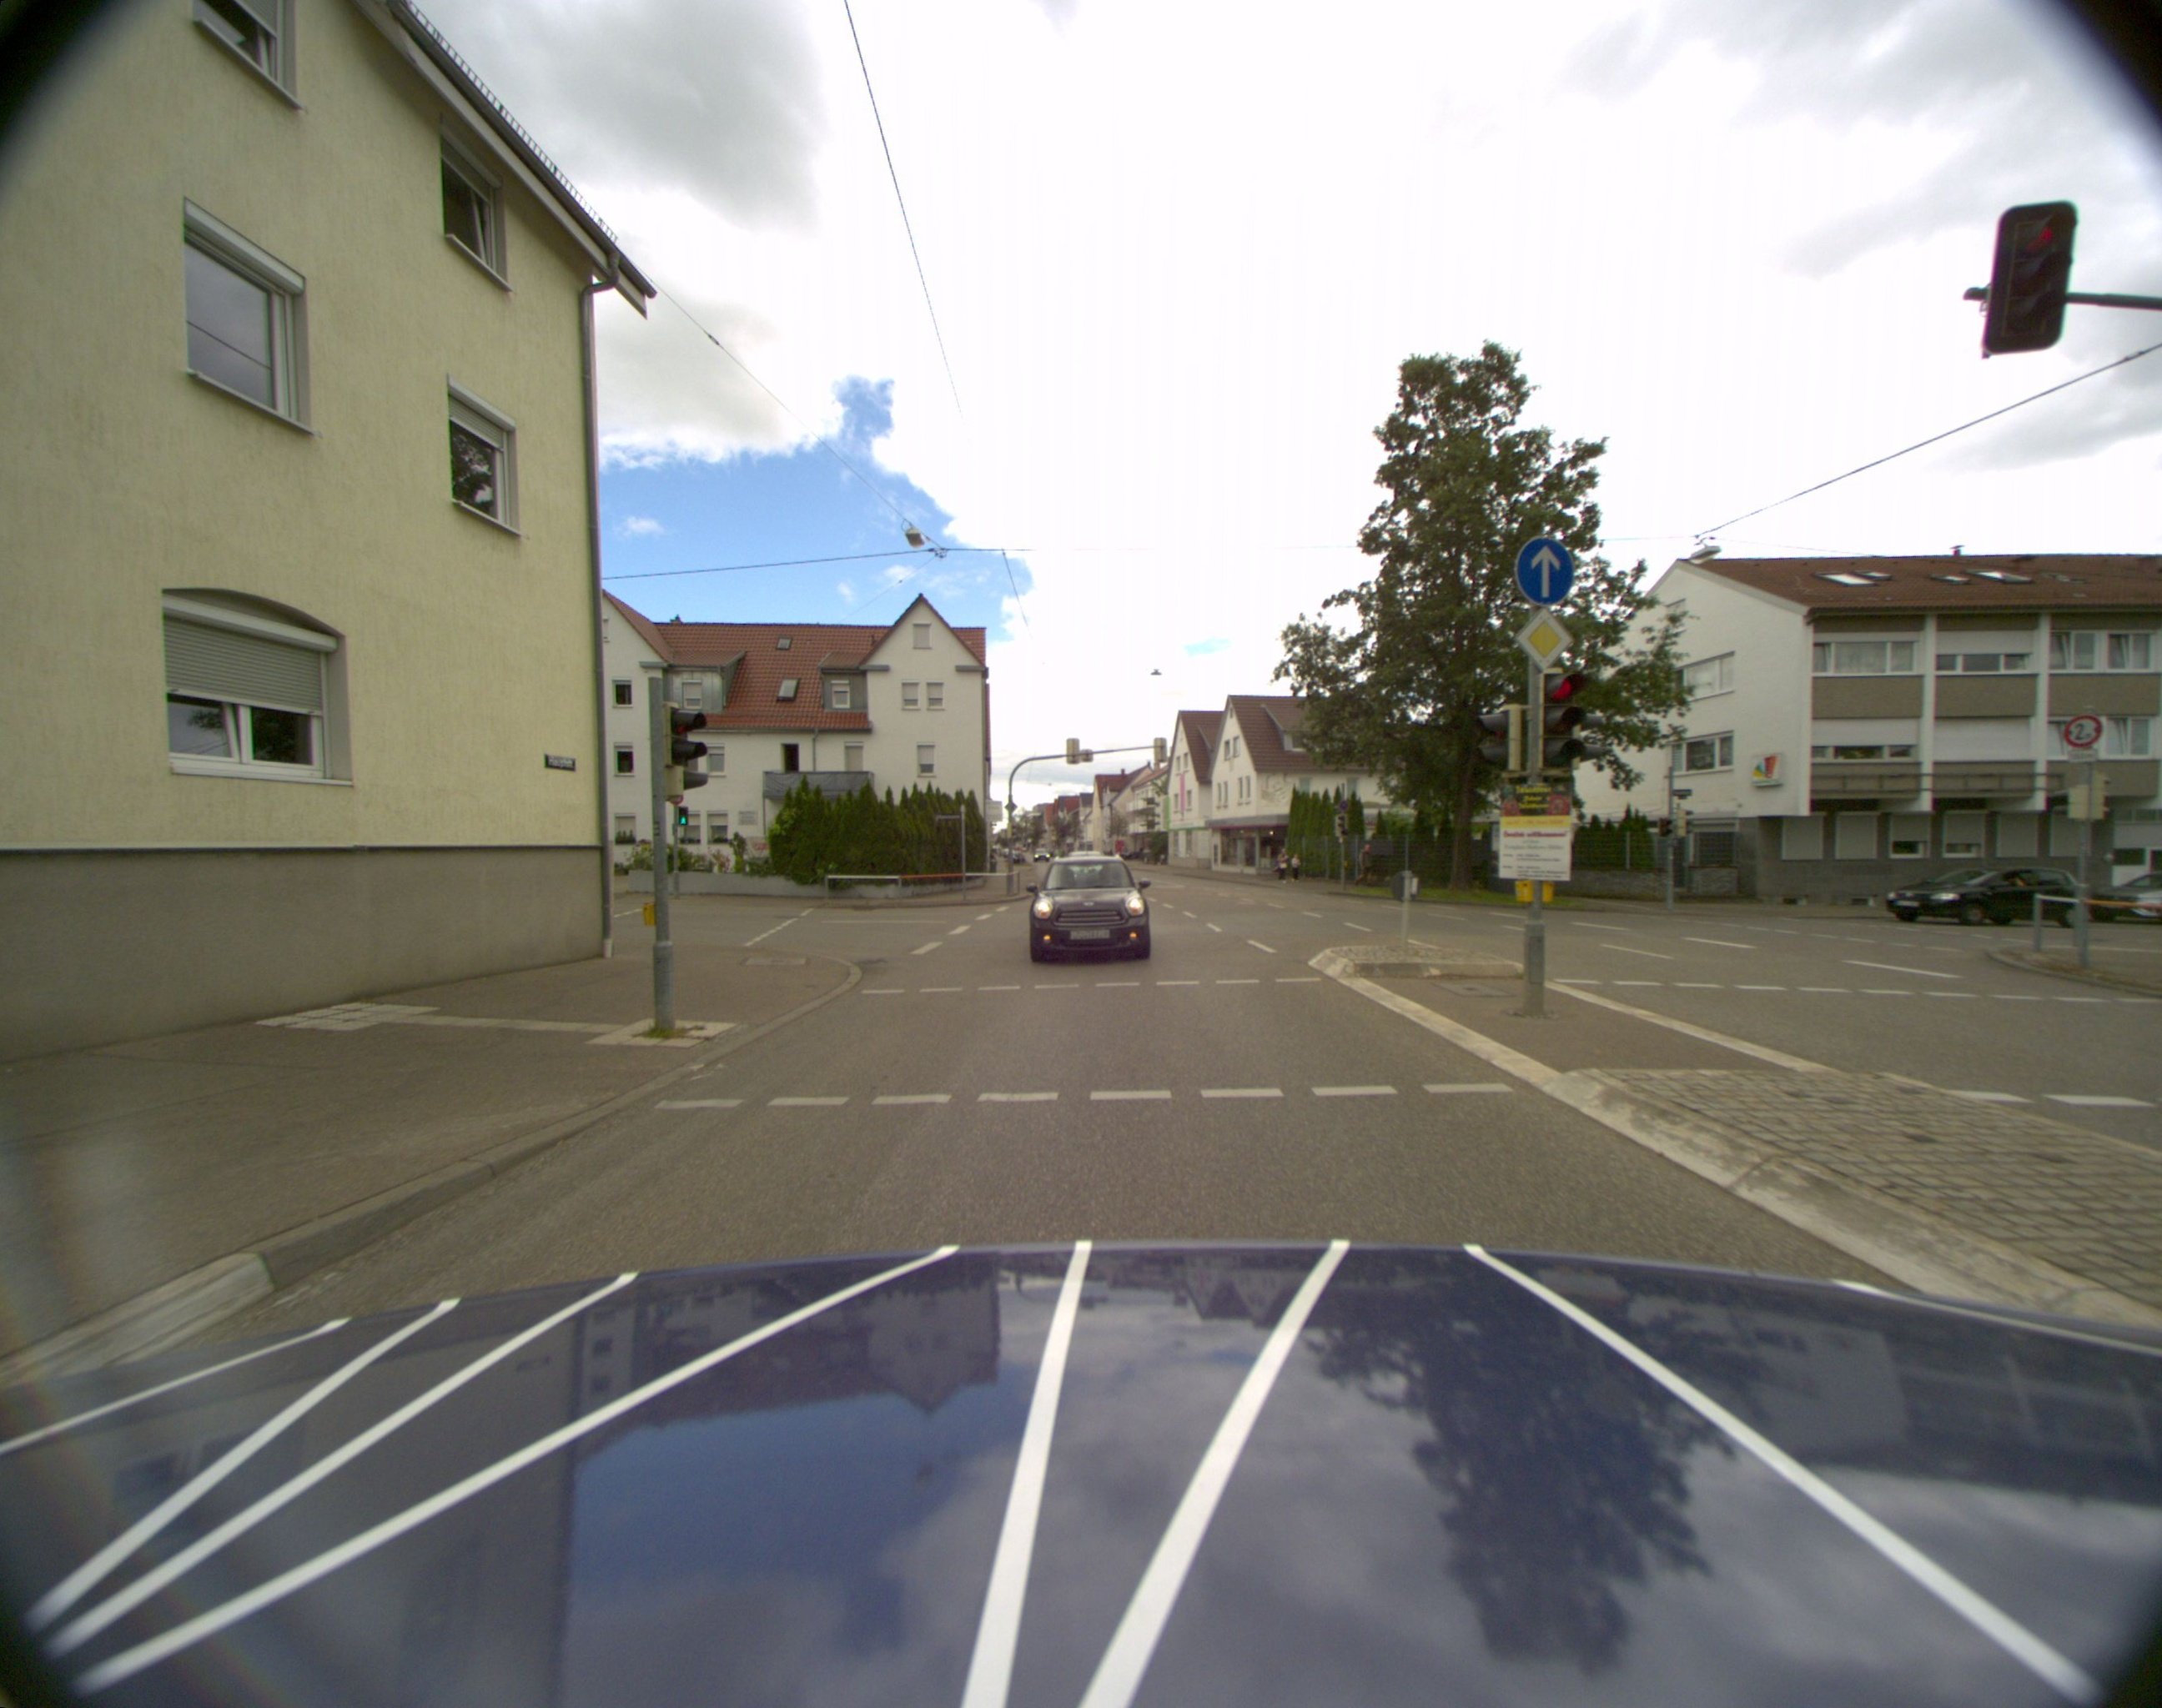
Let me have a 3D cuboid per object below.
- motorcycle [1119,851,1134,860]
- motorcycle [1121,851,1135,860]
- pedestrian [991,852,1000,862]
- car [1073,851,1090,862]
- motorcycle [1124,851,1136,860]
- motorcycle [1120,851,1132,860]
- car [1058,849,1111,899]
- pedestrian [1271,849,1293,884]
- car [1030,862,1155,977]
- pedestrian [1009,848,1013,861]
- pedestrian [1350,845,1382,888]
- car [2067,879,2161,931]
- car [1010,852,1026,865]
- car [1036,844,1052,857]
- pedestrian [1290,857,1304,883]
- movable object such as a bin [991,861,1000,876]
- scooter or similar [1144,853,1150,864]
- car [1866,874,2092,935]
[{"bbox_3d":[5.725,0.171,95.639,1.835,1.099,0.505,-2,1,-6],"label":"motorcycle"},{"bbox_3d":[5.956,0.150,96.444,1.679,1.099,0.558,-2,1,-6],"label":"motorcycle"},{"bbox_3d":[-11.177,0.394,99.198,0.982,1.272,0.667,0,1,7],"label":"pedestrian"},{"bbox_3d":[0.043,0.344,104.528,1.635,1.404,3.996,1,0,-9],"label":"car"},{"bbox_3d":[6.096,0.144,93.986,1.430,1.017,0.525,-2,1,-6],"label":"motorcycle"},{"bbox_3d":[5.602,0.193,94.685,1.515,1.099,0.589,-2,1,0],"label":"motorcycle"},{"bbox_3d":[0.055,0.677,29.017,1.811,1.556,4.615,-2,3,-2],"label":"car"},{"bbox_3d":[9.640,0.586,36.409,0.642,1.596,0.865,-2,2,-16],"label":"pedestrian"},{"bbox_3d":[0.045,0.915,12.400,1.694,1.506,3.999,-1,0,-3],"label":"car"},{"bbox_3d":[-9.228,0.027,100.037,0.497,1.744,0.451,0,1,-5],"label":"pedestrian"},{"bbox_3d":[11.991,0.524,32.004,0.824,1.744,1.229,-2,1,-5],"label":"pedestrian"},{"bbox_3d":[32.023,1.527,22.342,3.642,1.390,1.757,2,0,2],"label":"car"},{"bbox_3d":[-7.964,0.494,96.178,1.847,1.510,3.997,-2,1,-7],"label":"car"},{"bbox_3d":[-4.786,-0.436,97.892,1.847,1.510,3.997,-2,1,-5],"label":"car"},{"bbox_3d":[10.305,0.757,36.290,0.383,1.254,0.549,-2,2,-16],"label":"pedestrian"},{"bbox_3d":[-5.390,0.925,47.903,0.566,0.898,0.519,1,1,-5],"label":"movable object such as a bin"},{"bbox_3d":[6.623,0.422,76.332,0.465,1.117,1.829,-1,0,9],"label":"scooter or similar"},{"bbox_3d":[23.085,1.262,19.651,3.642,1.390,1.772,1,0,2],"label":"car"}]
